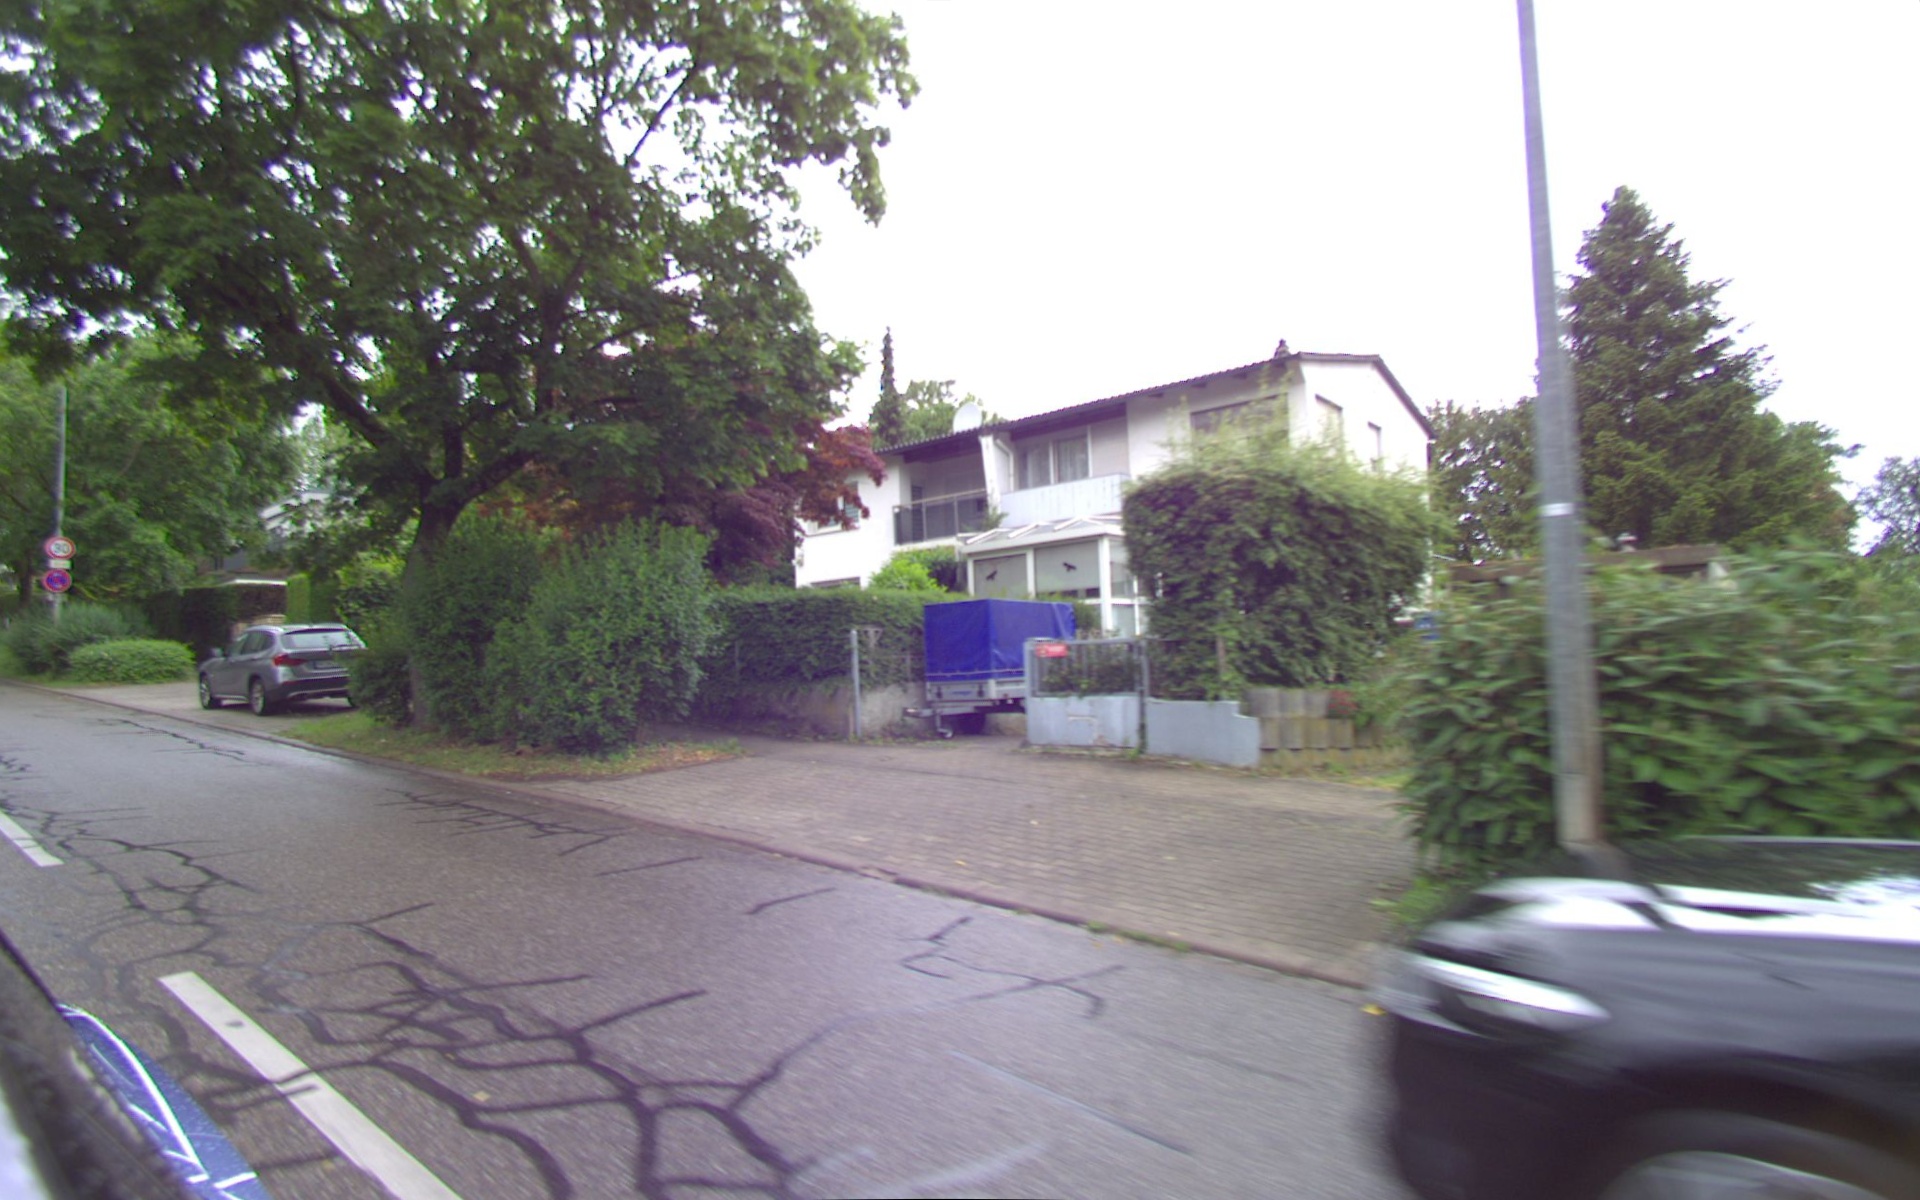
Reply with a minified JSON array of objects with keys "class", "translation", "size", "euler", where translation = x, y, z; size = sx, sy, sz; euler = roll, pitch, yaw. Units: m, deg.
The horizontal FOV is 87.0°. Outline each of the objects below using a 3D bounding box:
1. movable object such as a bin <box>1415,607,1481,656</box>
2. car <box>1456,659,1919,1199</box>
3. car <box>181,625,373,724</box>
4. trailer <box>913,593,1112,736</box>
[{"class":"movable object such as a bin","translation":[10.479,0.671,21.726],"size":[1.016,1.016,1.011],"euler":[-3,-2,41]},{"class":"car","translation":[3.182,0.757,1.230],"size":[4.322,1.373,1.736],"euler":[-3,-5,40]},{"class":"car","translation":[-12.607,1.286,18.587],"size":[4.278,1.553,1.648],"euler":[-2,1,38]},{"class":"trailer","translation":[0.843,1.000,14.462],"size":[1.422,1.813,3.090],"euler":[-3,-8,35]}]
